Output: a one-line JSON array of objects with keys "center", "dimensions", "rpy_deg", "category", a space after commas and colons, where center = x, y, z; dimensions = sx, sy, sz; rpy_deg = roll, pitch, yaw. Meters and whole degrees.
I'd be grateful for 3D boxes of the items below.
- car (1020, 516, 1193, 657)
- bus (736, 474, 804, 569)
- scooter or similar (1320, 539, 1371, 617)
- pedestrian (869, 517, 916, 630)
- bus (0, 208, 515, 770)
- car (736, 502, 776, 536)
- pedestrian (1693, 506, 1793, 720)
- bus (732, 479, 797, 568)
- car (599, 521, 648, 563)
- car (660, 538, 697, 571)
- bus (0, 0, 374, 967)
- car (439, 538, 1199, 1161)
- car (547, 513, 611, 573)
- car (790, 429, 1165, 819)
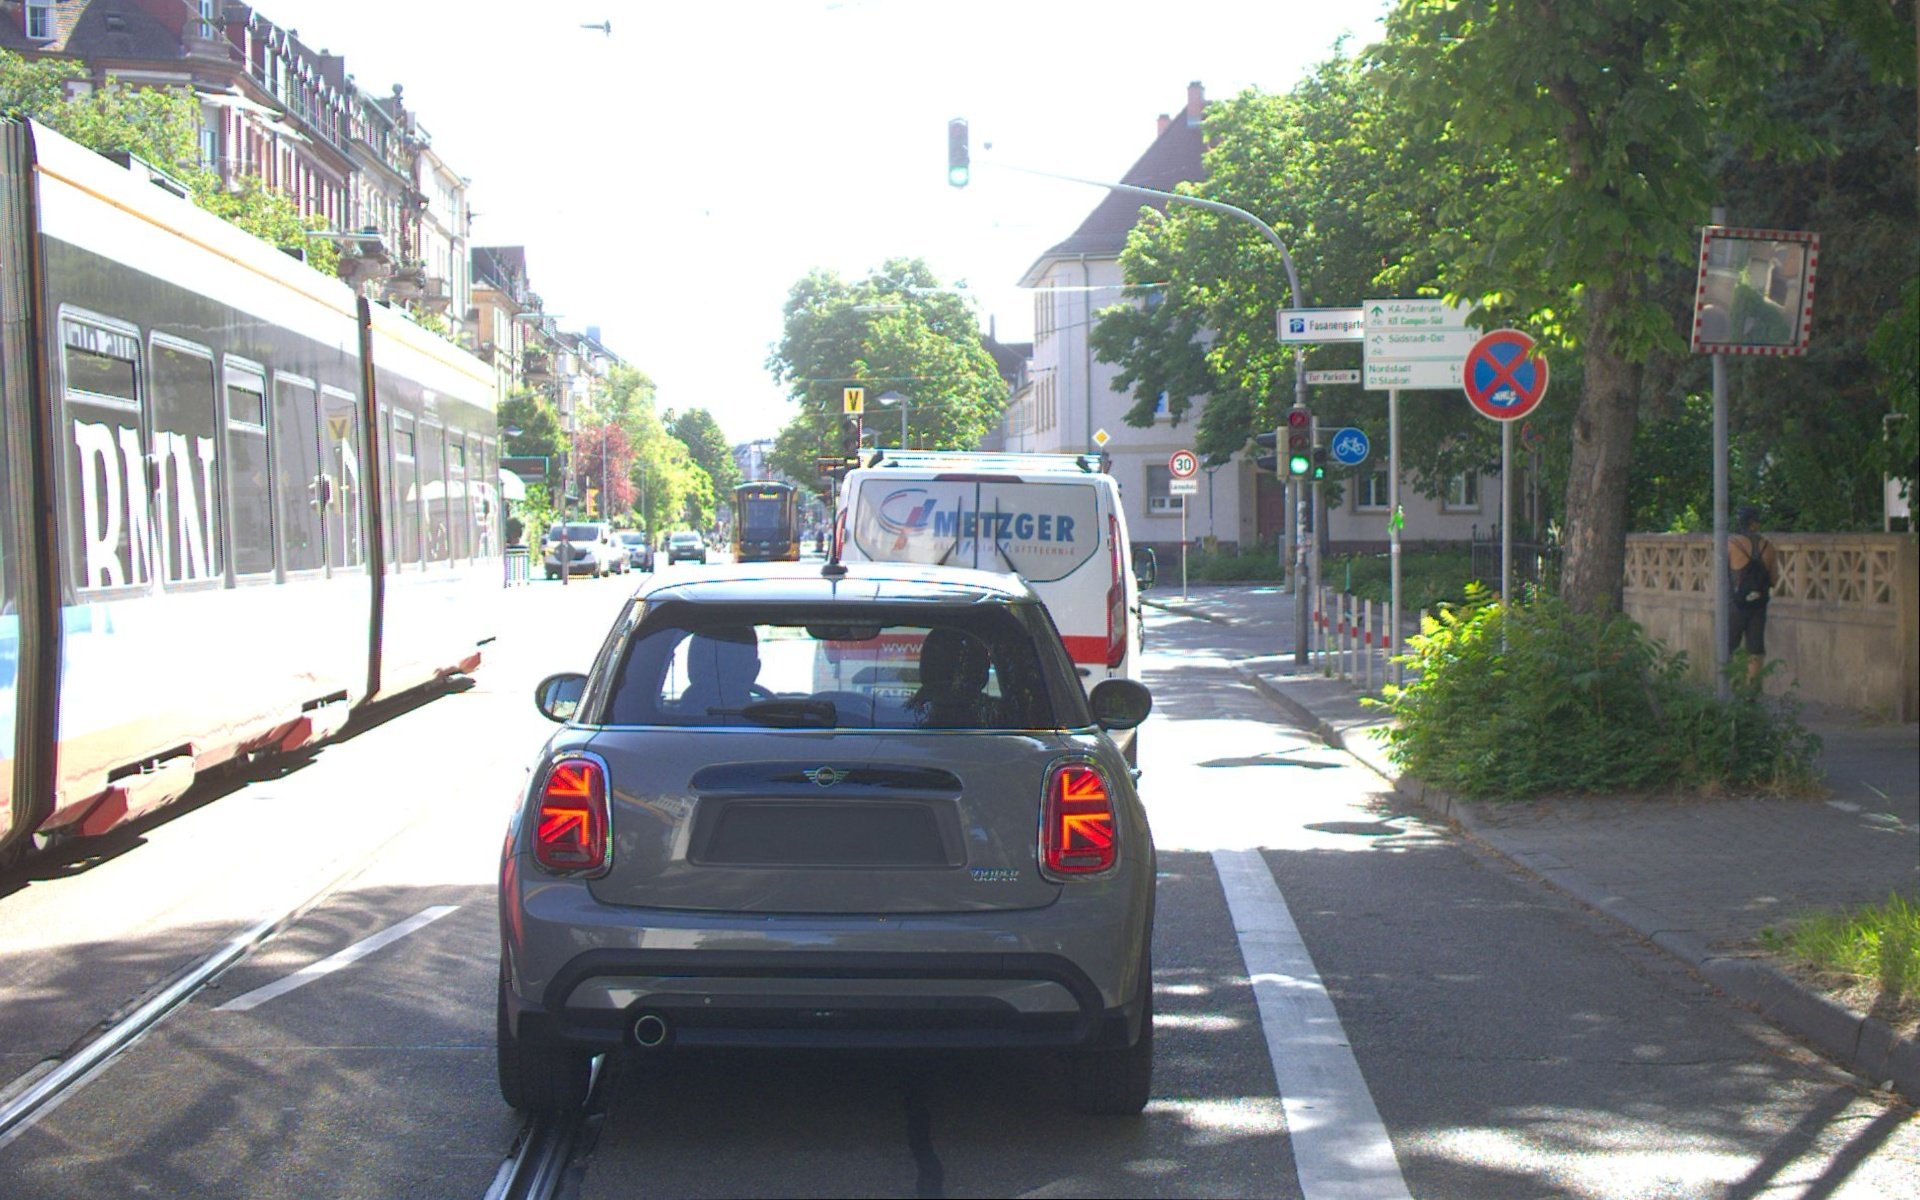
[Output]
[{"center": [1.824, -0.190, 44.046], "dimensions": [1.993, 1.700, 4.000], "rpy_deg": [1, 1, 0], "category": "car"}, {"center": [-7.352, -2.979, 132.402], "dimensions": [2.385, 3.484, 7.385], "rpy_deg": [1, 1, -5], "category": "bus"}, {"center": [6.592, -0.377, 58.825], "dimensions": [0.676, 1.305, 1.329], "rpy_deg": [1, 0, -1], "category": "scooter or similar"}, {"center": [-1.210, -0.472, 61.490], "dimensions": [0.795, 2.007, 0.740], "rpy_deg": [1, 0, -2], "category": "pedestrian"}, {"center": [-5.724, -0.812, 29.309], "dimensions": [2.849, 3.764, 12.199], "rpy_deg": [1, 1, -3], "category": "bus"}, {"center": [-9.815, -3.872, 165.349], "dimensions": [1.863, 1.558, 4.001], "rpy_deg": [1, 1, -4], "category": "car"}, {"center": [6.245, 0.100, 27.437], "dimensions": [0.592, 1.665, 0.647], "rpy_deg": [-2, 0, -1], "category": "pedestrian"}, {"center": [-7.975, -3.082, 139.799], "dimensions": [2.385, 3.484, 7.385], "rpy_deg": [1, 1, -5], "category": "bus"}, {"center": [-13.153, -2.268, 134.550], "dimensions": [1.775, 1.612, 4.001], "rpy_deg": [1, 1, -4], "category": "car"}, {"center": [-14.093, -2.262, 172.459], "dimensions": [1.775, 1.612, 4.001], "rpy_deg": [1, 1, -4], "category": "car"}, {"center": [-5.141, -0.635, 17.694], "dimensions": [2.859, 3.764, 11.185], "rpy_deg": [1, 1, -3], "category": "bus"}, {"center": [-0.364, 0.585, 10.307], "dimensions": [1.815, 1.483, 4.000], "rpy_deg": [1, 1, -1], "category": "car"}, {"center": [-13.206, -1.976, 119.351], "dimensions": [1.993, 2.007, 5.030], "rpy_deg": [1, 1, -4], "category": "car"}, {"center": [0.073, 0.114, 22.131], "dimensions": [2.118, 2.200, 4.945], "rpy_deg": [1, 1, -1], "category": "car"}]
